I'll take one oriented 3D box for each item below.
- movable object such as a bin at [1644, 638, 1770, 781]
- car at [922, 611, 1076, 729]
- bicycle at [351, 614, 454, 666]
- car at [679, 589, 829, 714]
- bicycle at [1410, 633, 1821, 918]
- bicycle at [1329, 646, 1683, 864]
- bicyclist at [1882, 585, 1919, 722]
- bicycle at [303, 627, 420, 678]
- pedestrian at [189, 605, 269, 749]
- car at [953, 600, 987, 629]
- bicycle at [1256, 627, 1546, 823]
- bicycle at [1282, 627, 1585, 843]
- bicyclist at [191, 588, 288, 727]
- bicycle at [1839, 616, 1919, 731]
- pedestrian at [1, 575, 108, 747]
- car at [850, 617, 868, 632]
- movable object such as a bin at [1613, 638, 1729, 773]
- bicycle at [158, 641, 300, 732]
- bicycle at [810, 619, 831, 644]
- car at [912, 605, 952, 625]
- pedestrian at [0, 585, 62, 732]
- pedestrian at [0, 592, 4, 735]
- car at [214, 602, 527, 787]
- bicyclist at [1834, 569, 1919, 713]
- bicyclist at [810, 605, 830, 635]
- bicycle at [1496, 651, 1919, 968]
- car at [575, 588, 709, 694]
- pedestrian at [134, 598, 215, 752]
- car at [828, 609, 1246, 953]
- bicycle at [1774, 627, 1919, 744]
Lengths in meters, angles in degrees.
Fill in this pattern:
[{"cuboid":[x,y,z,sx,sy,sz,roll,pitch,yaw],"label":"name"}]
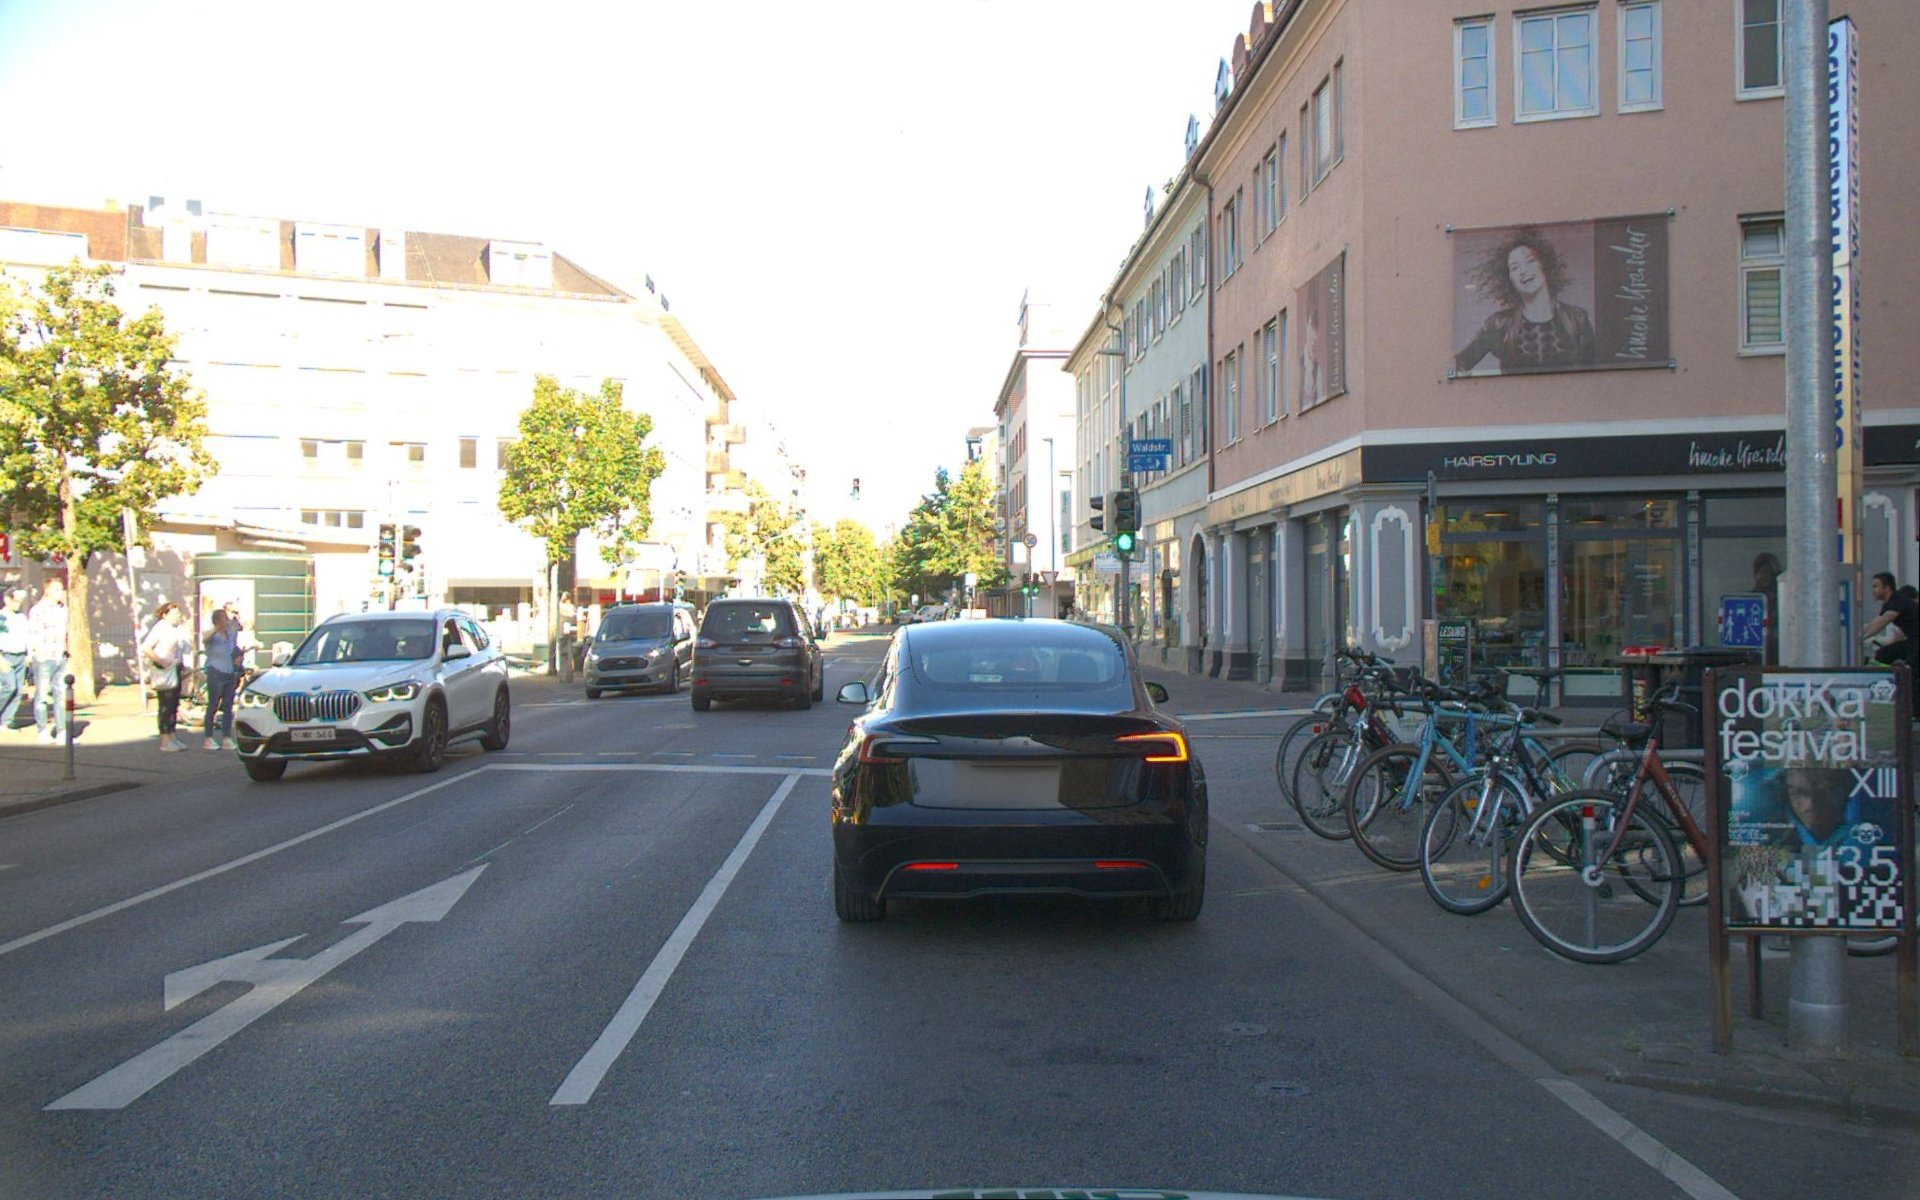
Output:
[{"cuboid":[6.064,0.878,13.449,0.737,1.111,0.627,1,-1,1],"label":"movable object such as a bin"},{"cuboid":[0.464,0.935,23.793,1.953,1.538,4.173,0,0,-2],"label":"car"},{"cuboid":[-14.737,1.059,43.761,2.429,1.347,0.921,0,-1,-7],"label":"bicycle"},{"cuboid":[-3.200,0.764,26.541,1.953,1.803,4.726,-1,0,-2],"label":"car"},{"cuboid":[3.167,0.835,8.138,1.686,1.290,0.791,-2,-1,4],"label":"bicycle"},{"cuboid":[3.082,0.867,9.488,1.760,1.144,0.782,-2,-1,4],"label":"bicycle"},{"cuboid":[10.732,0.576,18.148,0.926,1.475,0.806,0,-1,19],"label":"bicyclist"},{"cuboid":[-14.209,1.249,39.303,2.455,1.176,0.842,0,-1,-2],"label":"bicycle"},{"cuboid":[-8.798,0.913,19.914,0.671,1.692,0.619,-1,-1,35],"label":"pedestrian"},{"cuboid":[0.553,0.876,97.775,1.953,1.657,3.999,0,-1,-1],"label":"car"},{"cuboid":[3.075,0.862,11.697,1.822,1.280,0.833,-2,-1,4],"label":"bicycle"},{"cuboid":[3.012,0.844,10.665,1.709,1.289,0.781,-2,-1,2],"label":"bicycle"},{"cuboid":[-9.993,0.779,22.947,0.930,1.870,0.788,1,-1,23],"label":"bicyclist"},{"cuboid":[10.695,0.793,18.153,1.756,1.243,0.681,0,-1,18],"label":"bicycle"},{"cuboid":[-10.779,0.711,19.713,0.811,1.989,0.710,1,-1,11],"label":"pedestrian"},{"cuboid":[-11.219,2.695,183.831,1.954,1.666,3.997,0,-1,-4],"label":"car"},{"cuboid":[6.042,0.885,14.086,0.718,1.111,0.627,1,-1,1],"label":"movable object such as a bin"},{"cuboid":[-10.142,1.180,22.932,2.019,1.159,0.538,1,0,23],"label":"bicycle"},{"cuboid":[-7.796,1.752,92.355,1.089,1.368,3.997,0,0,-4],"label":"bicycle"},{"cuboid":[-2.775,1.491,164.477,3.907,2.049,1.999,0,0,-2],"label":"car"},{"cuboid":[-12.245,0.750,21.464,0.828,1.859,0.740,-1,-1,33],"label":"pedestrian"},{"cuboid":[-12.650,0.801,20.874,0.877,1.799,0.652,-1,-1,30],"label":"pedestrian"},{"cuboid":[-5.975,0.874,17.343,1.771,1.582,4.308,-4,0,-2],"label":"car"},{"cuboid":[9.574,0.412,17.000,0.903,1.439,0.806,0,-1,18],"label":"bicyclist"},{"cuboid":[-7.812,1.126,92.453,1.104,1.657,0.964,0,-1,-4],"label":"bicyclist"},{"cuboid":[3.315,0.860,7.008,1.846,1.214,0.692,-2,0,4],"label":"bicycle"},{"cuboid":[-6.382,0.784,33.690,1.797,1.877,4.673,-4,0,-1],"label":"car"},{"cuboid":[-9.200,0.865,19.386,0.537,1.758,0.673,-1,-1,32],"label":"pedestrian"},{"cuboid":[0.303,0.804,9.169,1.810,1.480,3.999,0,-1,-1],"label":"car"},{"cuboid":[9.510,0.866,17.018,1.926,1.169,0.791,-1,-1,18],"label":"bicycle"}]
